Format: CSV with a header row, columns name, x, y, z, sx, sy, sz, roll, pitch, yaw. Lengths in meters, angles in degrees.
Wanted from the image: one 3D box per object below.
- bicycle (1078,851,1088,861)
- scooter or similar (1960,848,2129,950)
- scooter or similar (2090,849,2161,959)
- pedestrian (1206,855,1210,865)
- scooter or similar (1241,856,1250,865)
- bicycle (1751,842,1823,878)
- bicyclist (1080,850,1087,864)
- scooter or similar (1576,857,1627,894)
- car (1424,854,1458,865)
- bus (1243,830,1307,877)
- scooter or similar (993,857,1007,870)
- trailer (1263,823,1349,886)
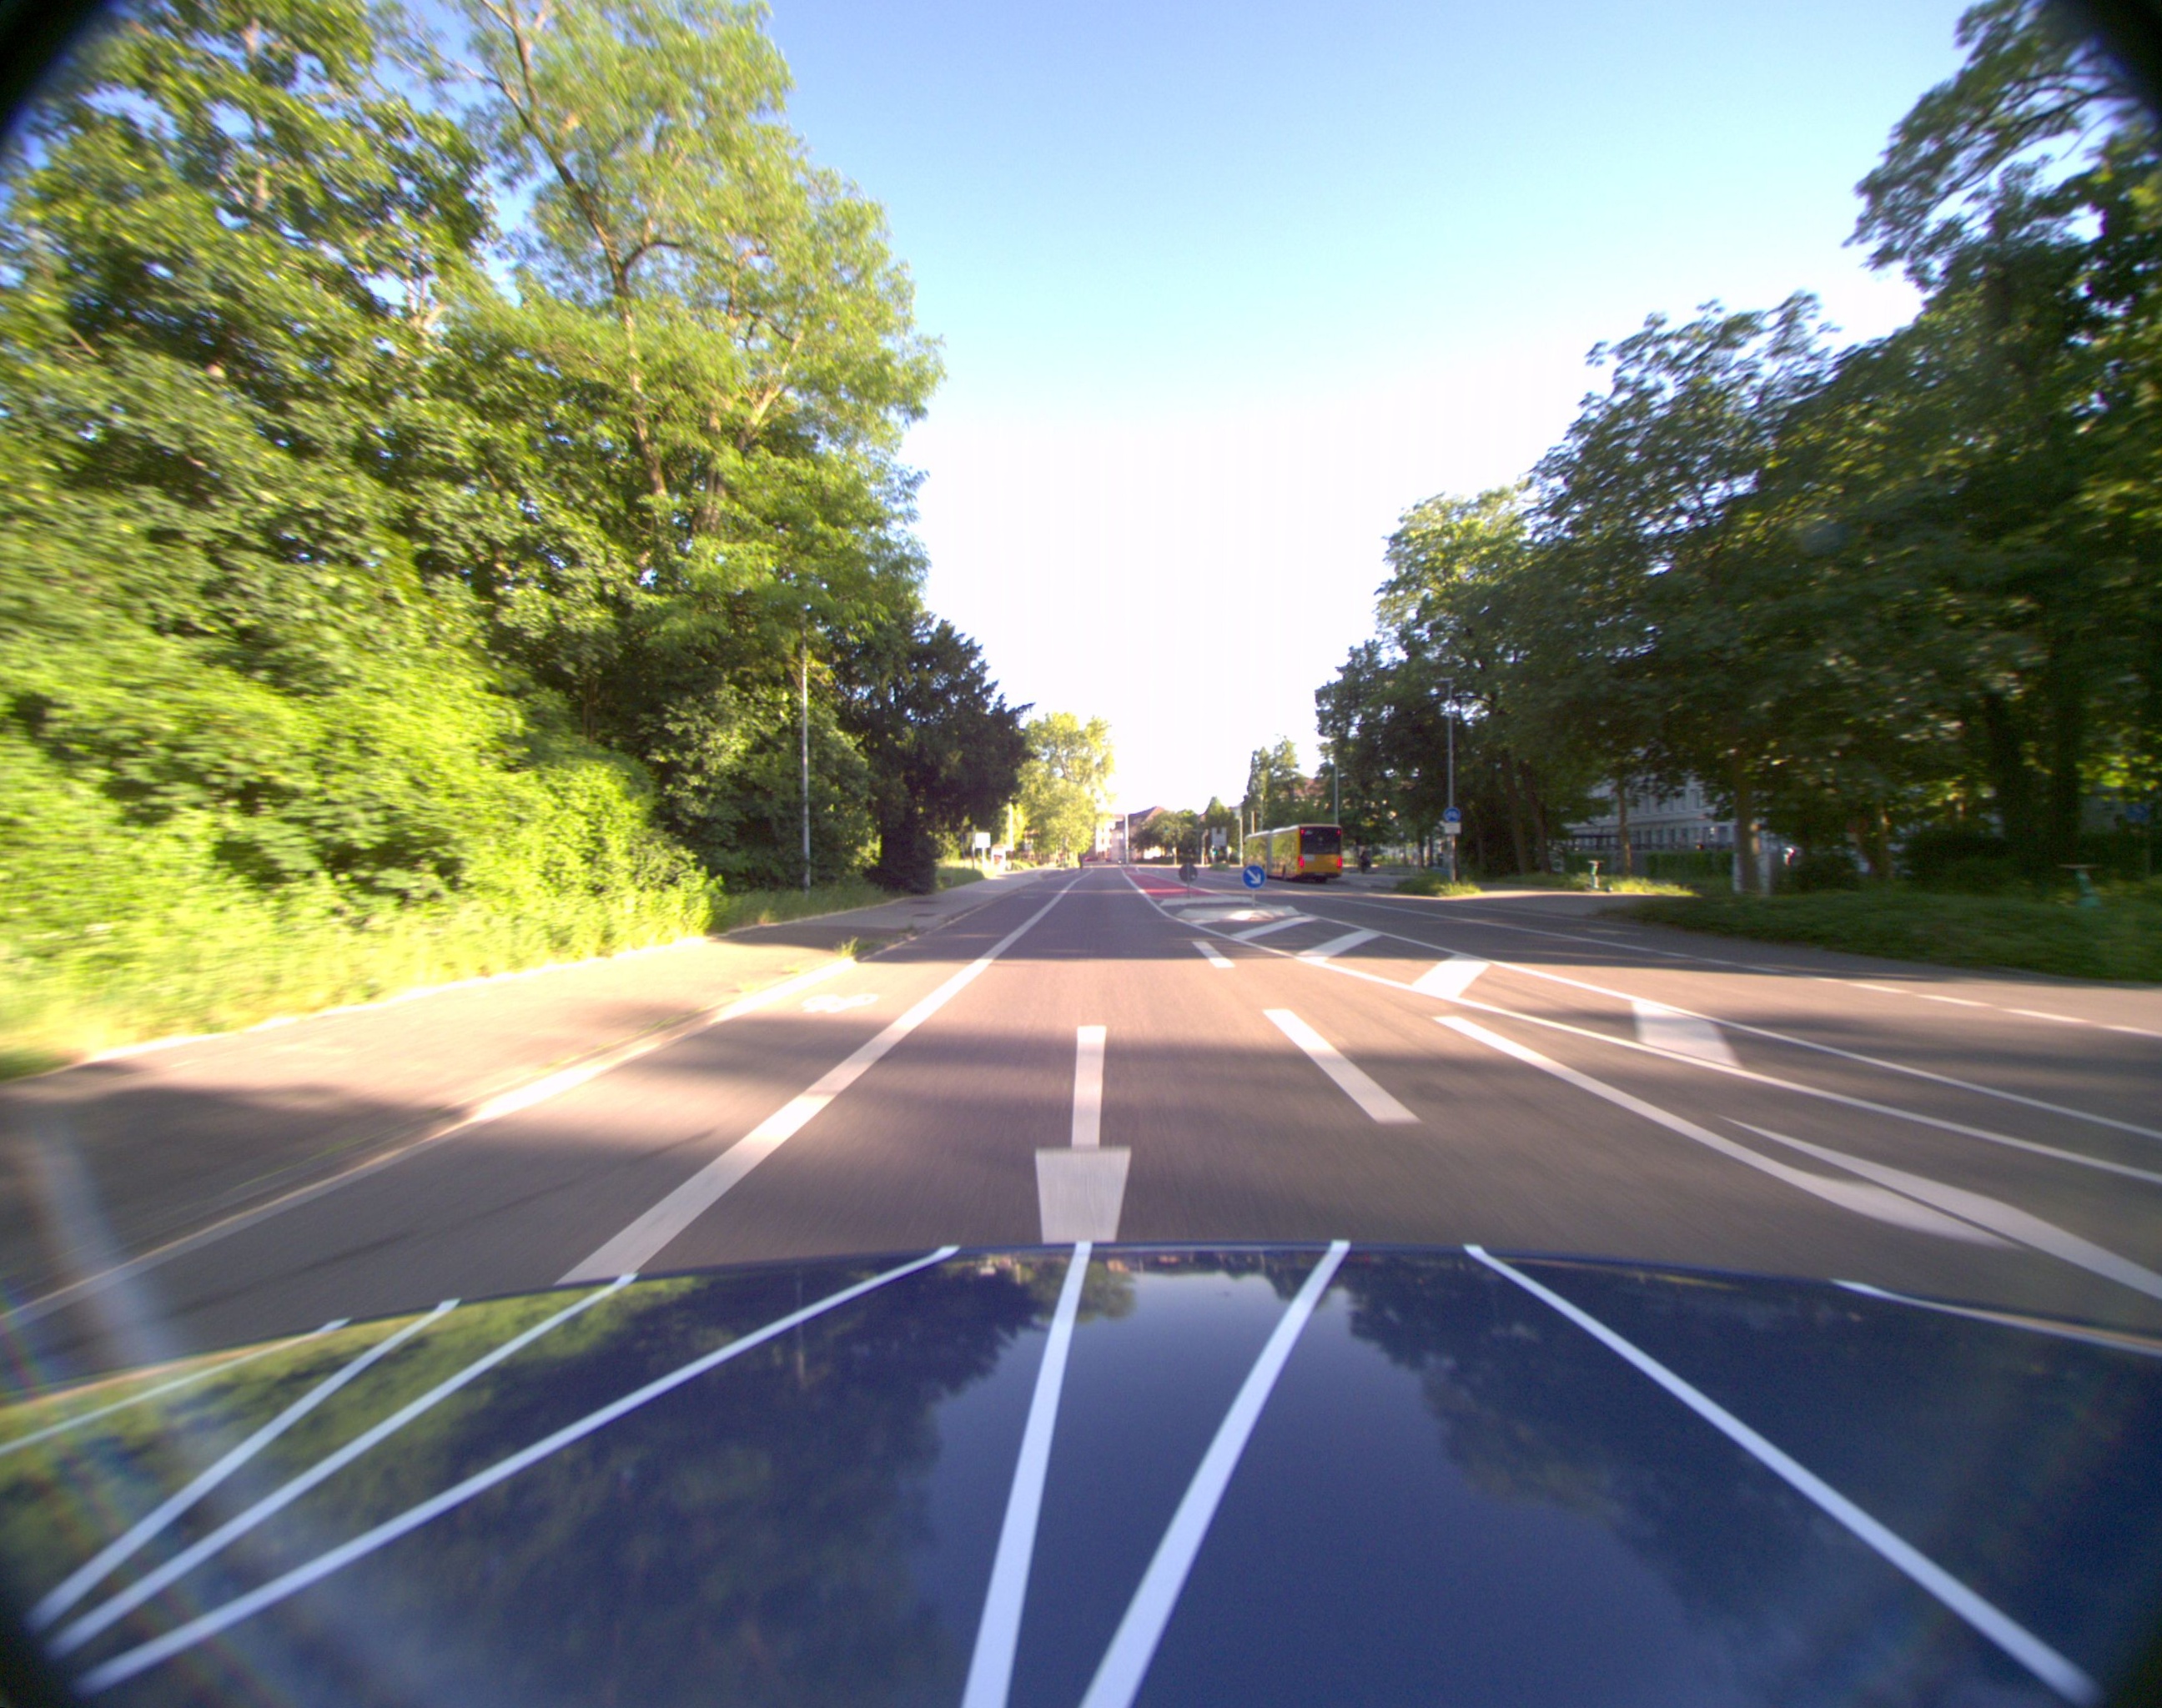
name,x,y,z,sx,sy,sz,roll,pitch,yaw
bicycle,0.260,0.212,82.298,0.694,1.089,2.138,0,0,12
scooter or similar,17.241,0.759,13.673,0.829,1.707,1.741,0,0,1
scooter or similar,17.154,0.774,11.731,0.829,1.707,1.741,0,0,1
pedestrian,22.141,1.038,131.983,0.691,1.672,0.681,0,1,10
scooter or similar,23.186,0.895,107.086,0.693,1.286,1.499,0,0,31
bicycle,22.738,0.194,24.478,2.138,1.089,0.892,-2,0,-23
bicyclist,0.265,0.347,82.276,0.694,1.482,0.801,0,1,12
scooter or similar,19.069,0.777,27.876,0.829,1.303,1.571,0,0,1
car,54.596,0.815,115.330,4.252,1.530,2.070,0,0,9
bus,14.056,-0.031,55.755,2.847,3.178,8.600,0,0,2
scooter or similar,-7.856,0.900,73.610,0.722,1.240,1.330,0,0,24
trailer,13.576,0.003,46.747,2.861,3.336,9.363,-2,0,3
